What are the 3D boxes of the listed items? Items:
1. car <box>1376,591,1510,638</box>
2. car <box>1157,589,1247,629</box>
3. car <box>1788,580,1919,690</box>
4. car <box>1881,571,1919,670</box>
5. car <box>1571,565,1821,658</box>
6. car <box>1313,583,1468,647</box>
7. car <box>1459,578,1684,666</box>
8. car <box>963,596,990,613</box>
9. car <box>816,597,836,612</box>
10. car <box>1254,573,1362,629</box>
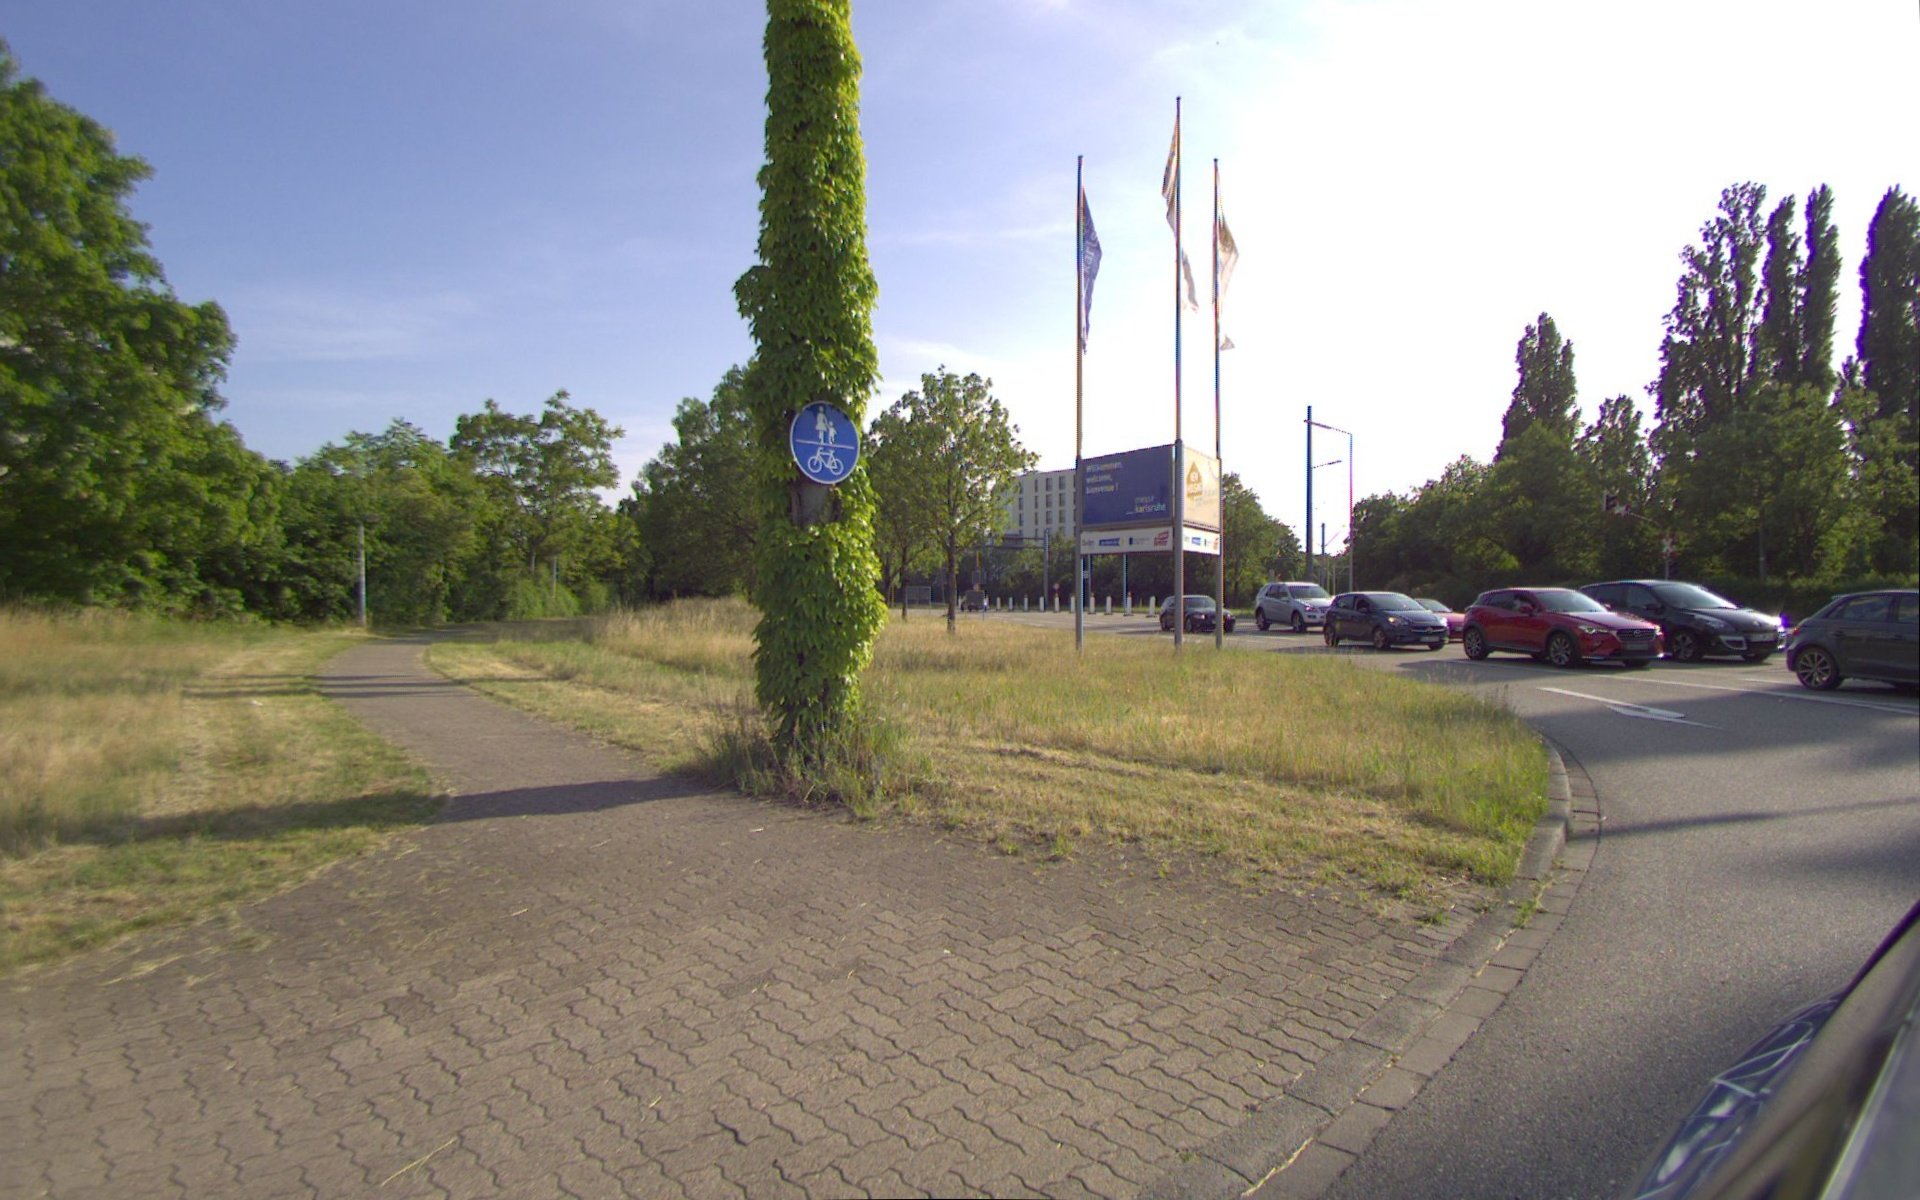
[{"bbox_3d":[14.042,0.381,29.675,1.702,1.221,3.852,-2,0,-7],"label":"car"},{"bbox_3d":[9.250,0.326,39.072,1.864,1.403,4.362,-2,0,-8],"label":"car"},{"bbox_3d":[13.173,0.448,13.047,1.614,1.415,3.831,0,0,-6],"label":"car"},{"bbox_3d":[15.834,0.312,14.007,1.671,1.527,4.559,-1,0,-6],"label":"car"},{"bbox_3d":[14.875,0.201,20.770,1.733,1.692,4.090,-1,0,-9],"label":"car"},{"bbox_3d":[11.113,0.352,26.494,1.711,1.524,4.229,0,0,-9],"label":"car"},{"bbox_3d":[11.968,0.374,20.154,1.677,1.571,3.983,0,0,-8],"label":"car"},{"bbox_3d":[1.519,0.421,93.771,1.857,1.474,3.915,0,0,-8],"label":"car"},{"bbox_3d":[-19.404,0.663,145.955,1.823,2.038,4.186,-2,1,-22],"label":"car"},{"bbox_3d":[12.571,0.023,36.888,1.864,1.847,4.362,-2,0,-8],"label":"car"}]
